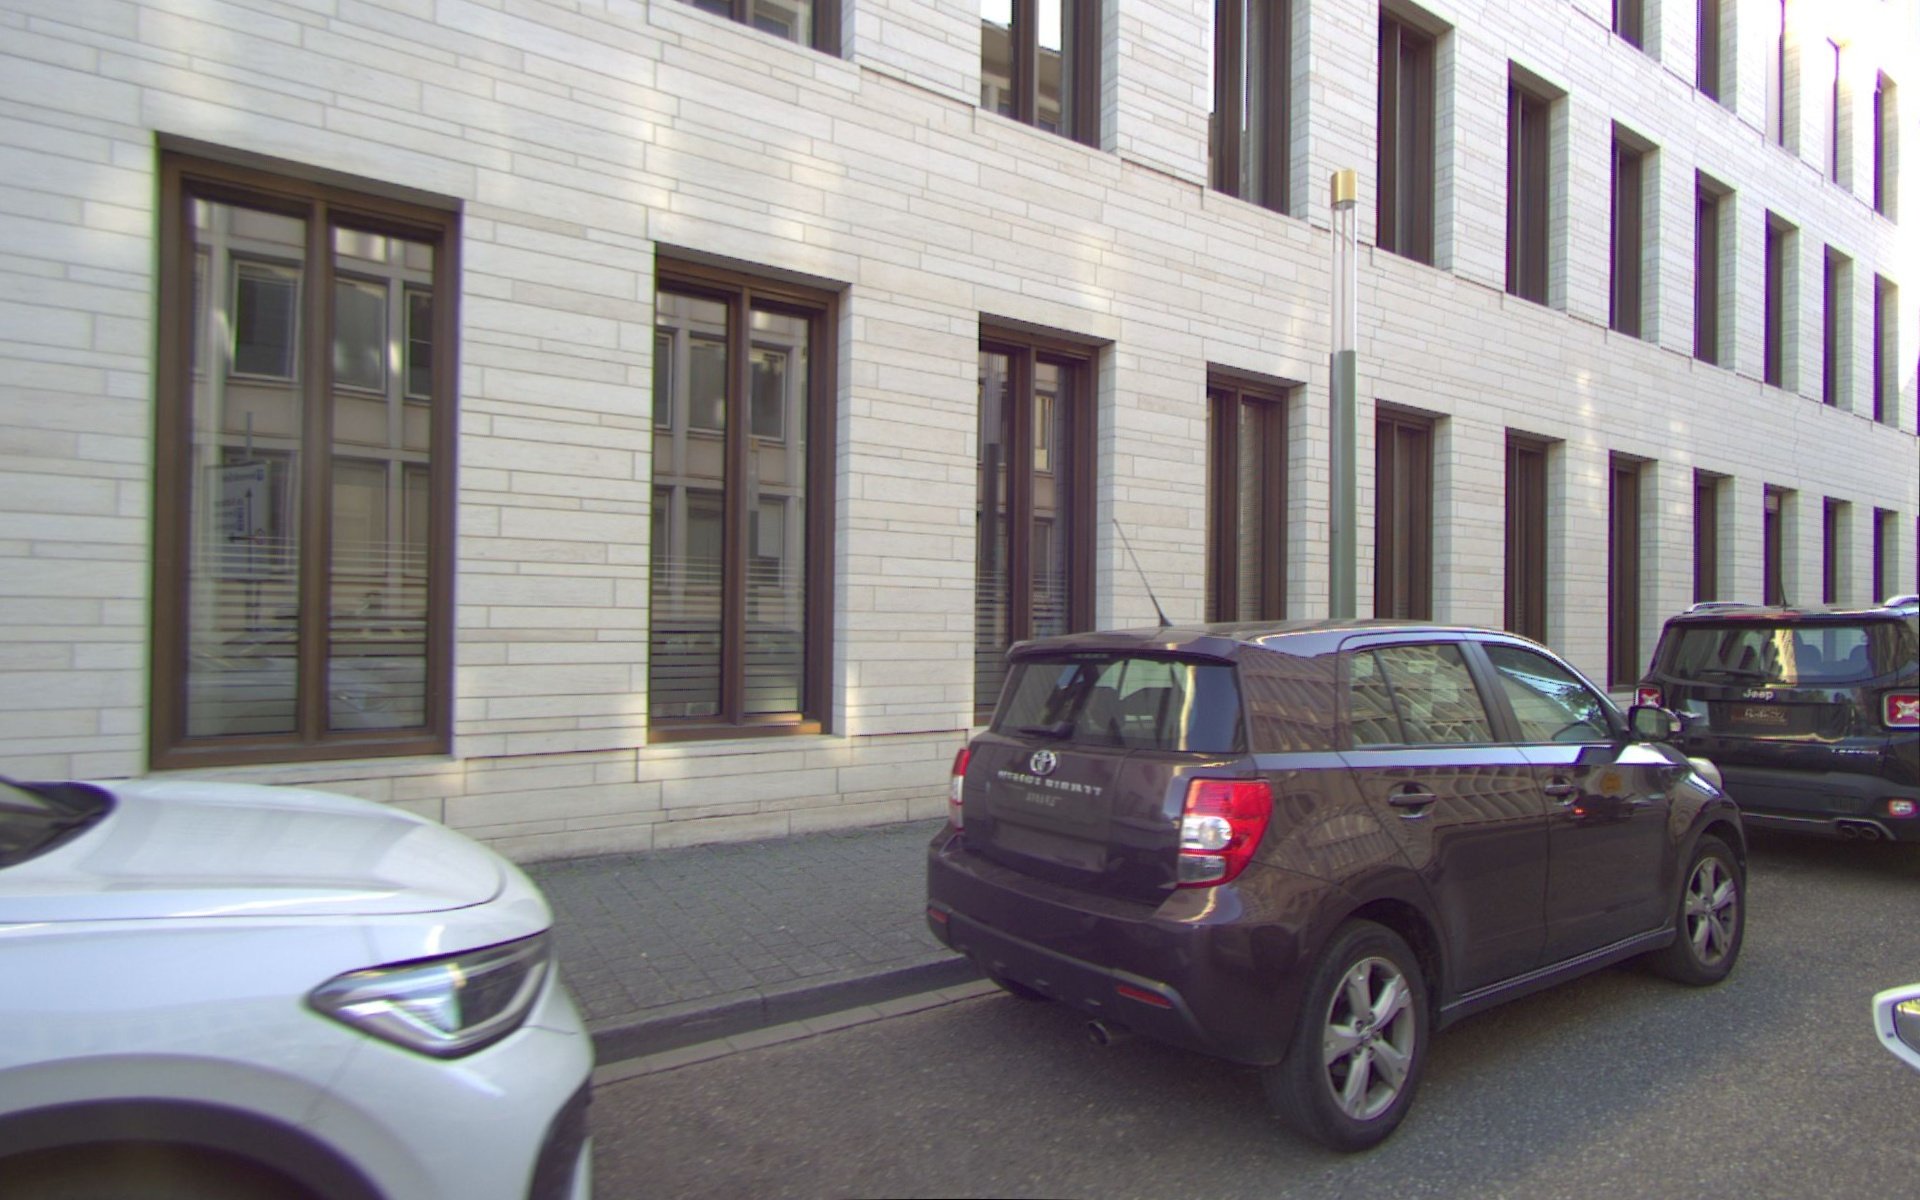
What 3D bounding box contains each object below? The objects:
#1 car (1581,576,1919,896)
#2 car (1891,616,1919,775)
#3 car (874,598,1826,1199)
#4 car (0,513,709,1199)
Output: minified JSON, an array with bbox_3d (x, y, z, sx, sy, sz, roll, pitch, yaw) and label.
[{"bbox_3d":[6.443,0.810,7.252,3.975,1.737,1.812,1,-3,-34],"label":"car"},{"bbox_3d":[11.805,0.969,10.758,4.110,1.615,1.730,1,-3,-34],"label":"car"},{"bbox_3d":[1.904,0.819,4.400,4.218,1.562,1.812,1,-1,-34],"label":"car"},{"bbox_3d":[-2.765,0.636,1.300,4.397,1.562,1.812,1,1,-32],"label":"car"}]
